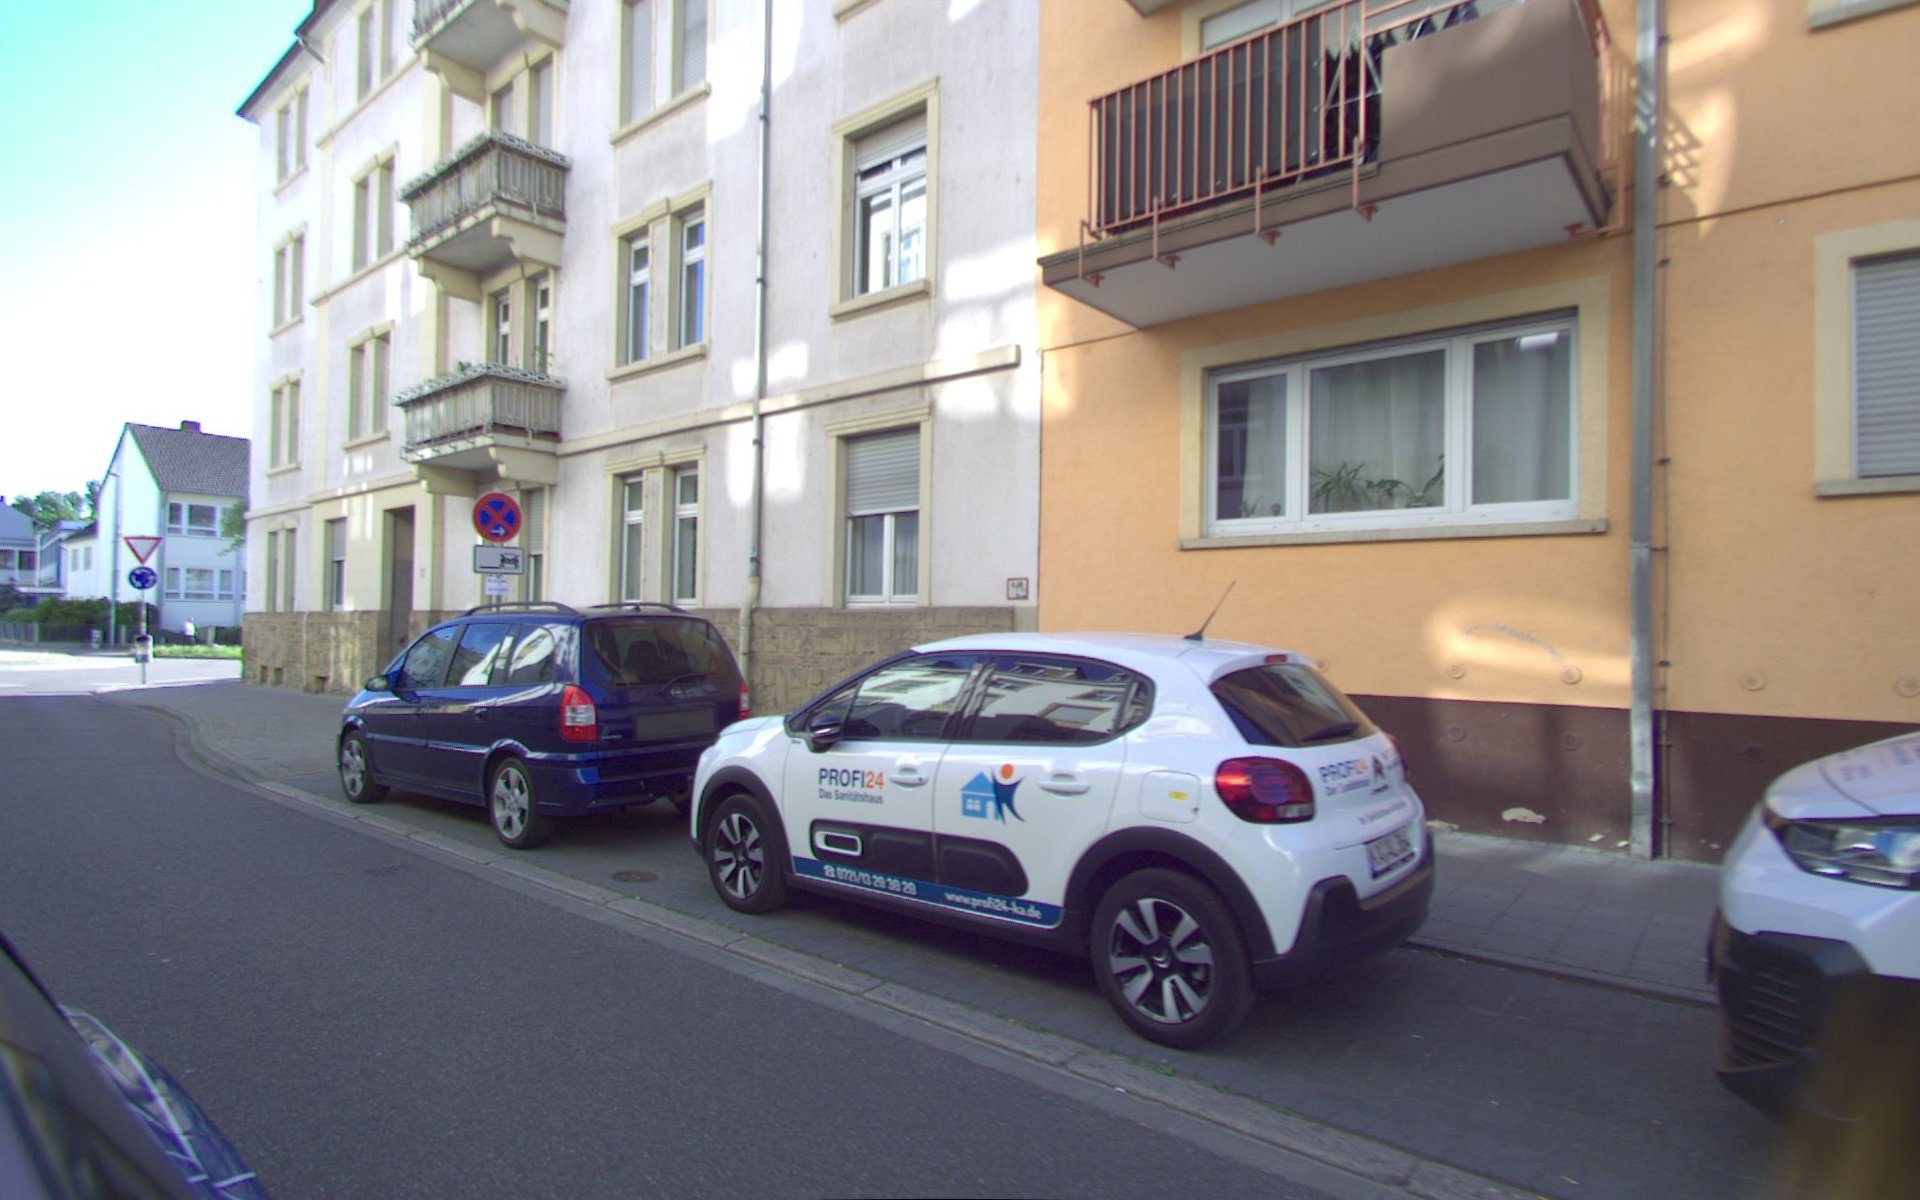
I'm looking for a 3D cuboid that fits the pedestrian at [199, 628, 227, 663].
[{"bbox_3d":[-37.430,2.264,50.744,0.980,1.719,0.694,2,-3,-27],"label":"pedestrian"}]

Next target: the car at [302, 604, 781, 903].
[{"bbox_3d":[-3.516,0.992,8.130,4.290,1.784,1.745,-1,-3,40],"label":"car"}]

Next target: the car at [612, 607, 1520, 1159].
[{"bbox_3d":[0.219,0.911,5.084,4.291,1.633,1.745,-1,-3,40],"label":"car"}]

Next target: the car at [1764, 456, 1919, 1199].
[{"bbox_3d":[4.535,0.644,1.395,5.304,1.940,1.955,-1,-3,40],"label":"car"}]
